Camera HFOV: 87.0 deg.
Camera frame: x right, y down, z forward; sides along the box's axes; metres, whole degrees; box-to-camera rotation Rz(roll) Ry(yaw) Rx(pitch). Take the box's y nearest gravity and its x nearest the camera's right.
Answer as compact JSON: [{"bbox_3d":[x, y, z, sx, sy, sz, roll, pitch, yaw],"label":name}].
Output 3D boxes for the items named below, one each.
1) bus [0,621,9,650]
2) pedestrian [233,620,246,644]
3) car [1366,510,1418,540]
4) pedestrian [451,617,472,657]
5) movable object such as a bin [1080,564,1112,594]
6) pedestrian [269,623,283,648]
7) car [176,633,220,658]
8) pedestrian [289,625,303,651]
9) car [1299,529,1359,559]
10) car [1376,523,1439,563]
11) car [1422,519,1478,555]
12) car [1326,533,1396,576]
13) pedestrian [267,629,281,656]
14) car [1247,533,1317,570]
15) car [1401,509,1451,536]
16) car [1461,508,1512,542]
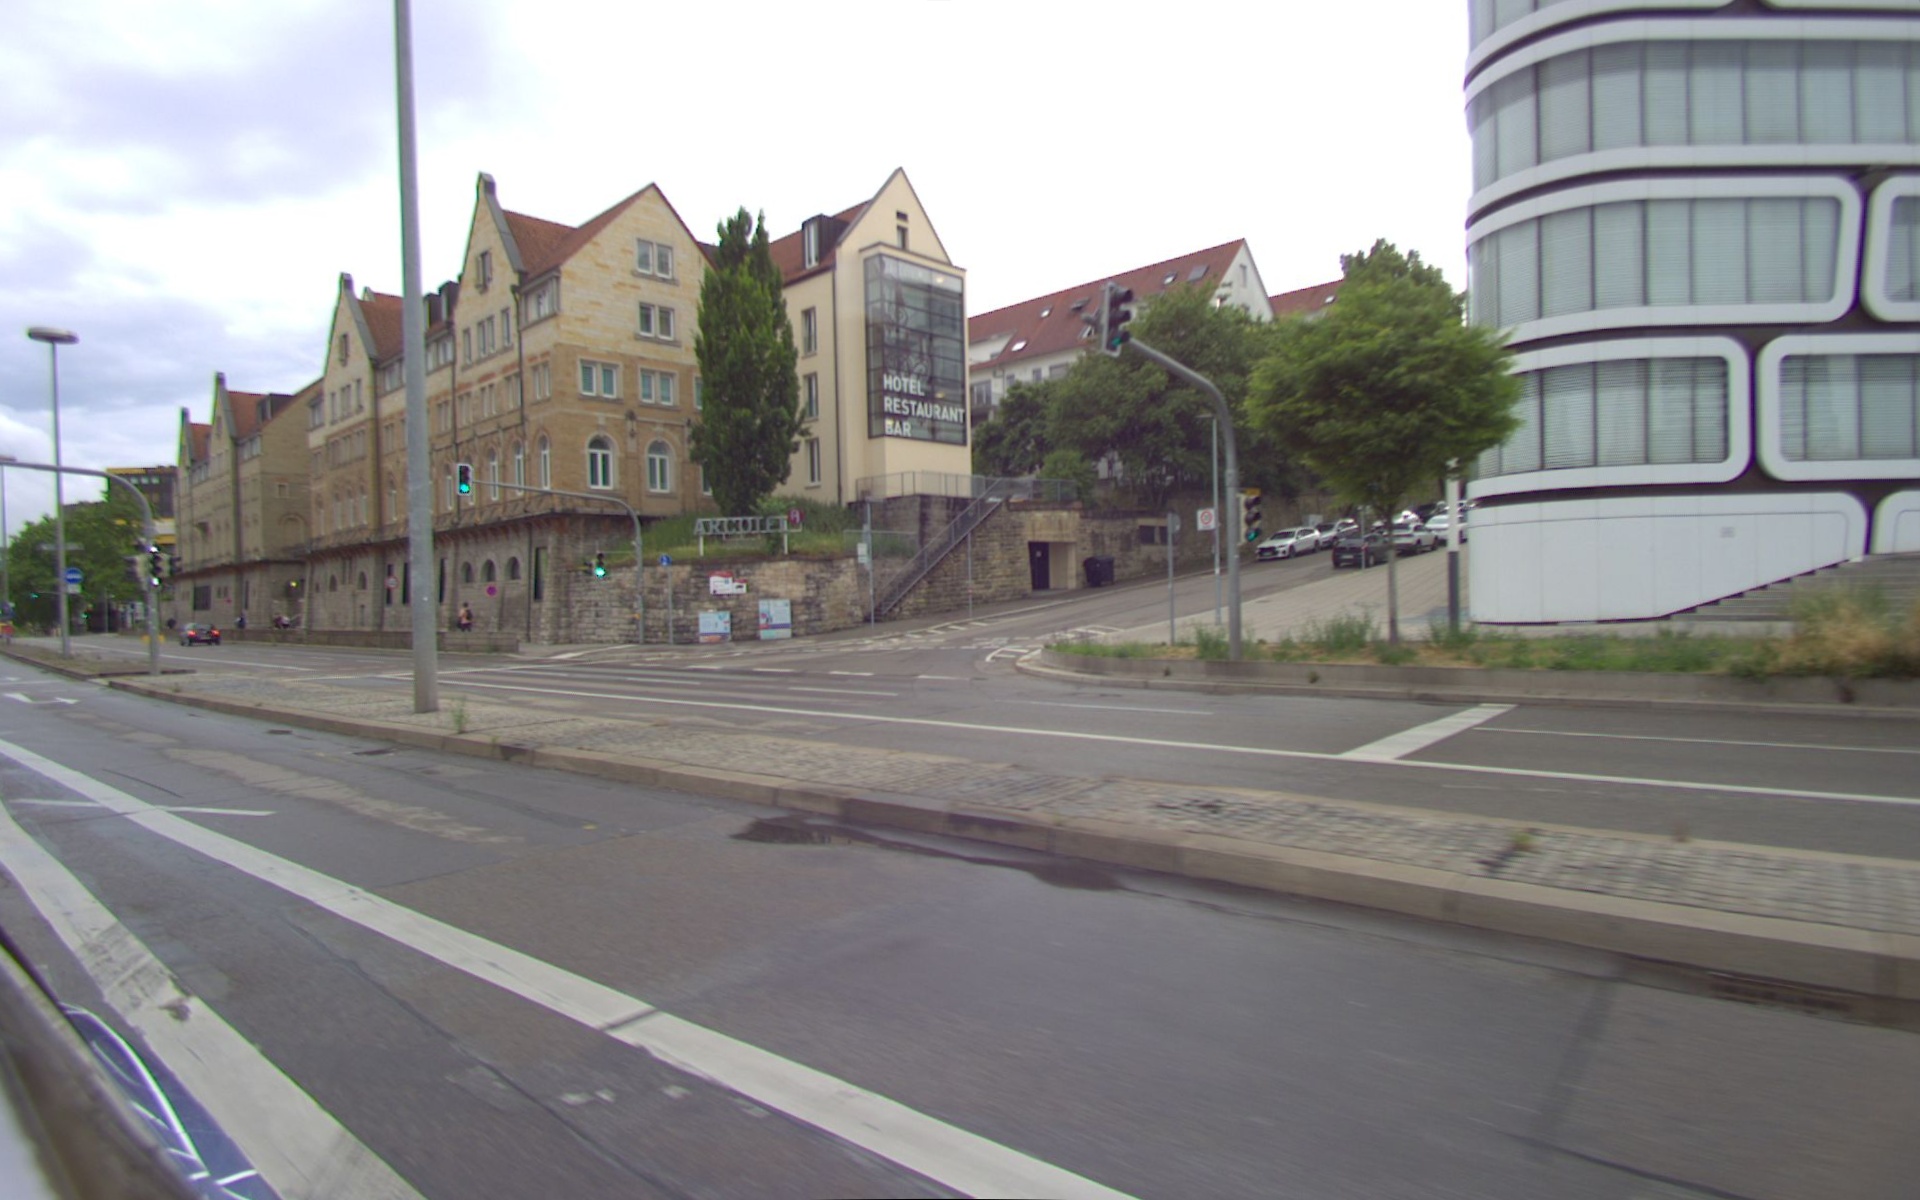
[{"bbox_3d":[-118.783,4.365,124.302,8.447,3.364,2.466,-1,1,44],"label":"bus"},{"bbox_3d":[-55.902,2.489,78.537,0.684,1.792,0.668,-1,-1,43],"label":"pedestrian"},{"bbox_3d":[28.451,-4.932,66.610,1.815,1.696,3.944,-1,5,44],"label":"car"},{"bbox_3d":[-22.803,1.694,46.274,0.684,1.792,0.668,-1,-1,43],"label":"pedestrian"},{"bbox_3d":[6.468,-1.003,48.172,1.118,1.252,0.816,-2,6,43],"label":"movable object such as a bin"},{"bbox_3d":[-48.616,2.505,71.912,0.684,1.792,0.668,-1,-1,43],"label":"pedestrian"},{"bbox_3d":[-49.326,2.945,65.474,4.002,1.475,1.691,-3,0,45],"label":"car"},{"bbox_3d":[-47.803,2.733,72.871,0.684,1.792,0.668,-1,-1,43],"label":"pedestrian"},{"bbox_3d":[21.449,-3.247,58.789,1.864,1.465,3.851,-1,5,44],"label":"car"},{"bbox_3d":[22.202,-2.829,50.122,1.876,1.588,3.952,-2,5,38],"label":"car"},{"bbox_3d":[26.393,-3.426,54.478,1.876,1.588,3.952,-2,5,38],"label":"car"},{"bbox_3d":[18.417,-2.099,46.376,1.876,1.588,3.952,-2,5,38],"label":"car"},{"bbox_3d":[-46.188,2.850,68.164,0.684,1.792,0.668,-1,-1,43],"label":"pedestrian"},{"bbox_3d":[17.484,-2.664,54.890,2.053,1.696,3.944,-1,5,44],"label":"car"},{"bbox_3d":[32.836,-5.463,71.266,3.943,1.696,1.849,-7,5,-44],"label":"car"},{"bbox_3d":[30.504,-4.352,58.581,1.876,1.588,3.952,-2,5,38],"label":"car"}]
